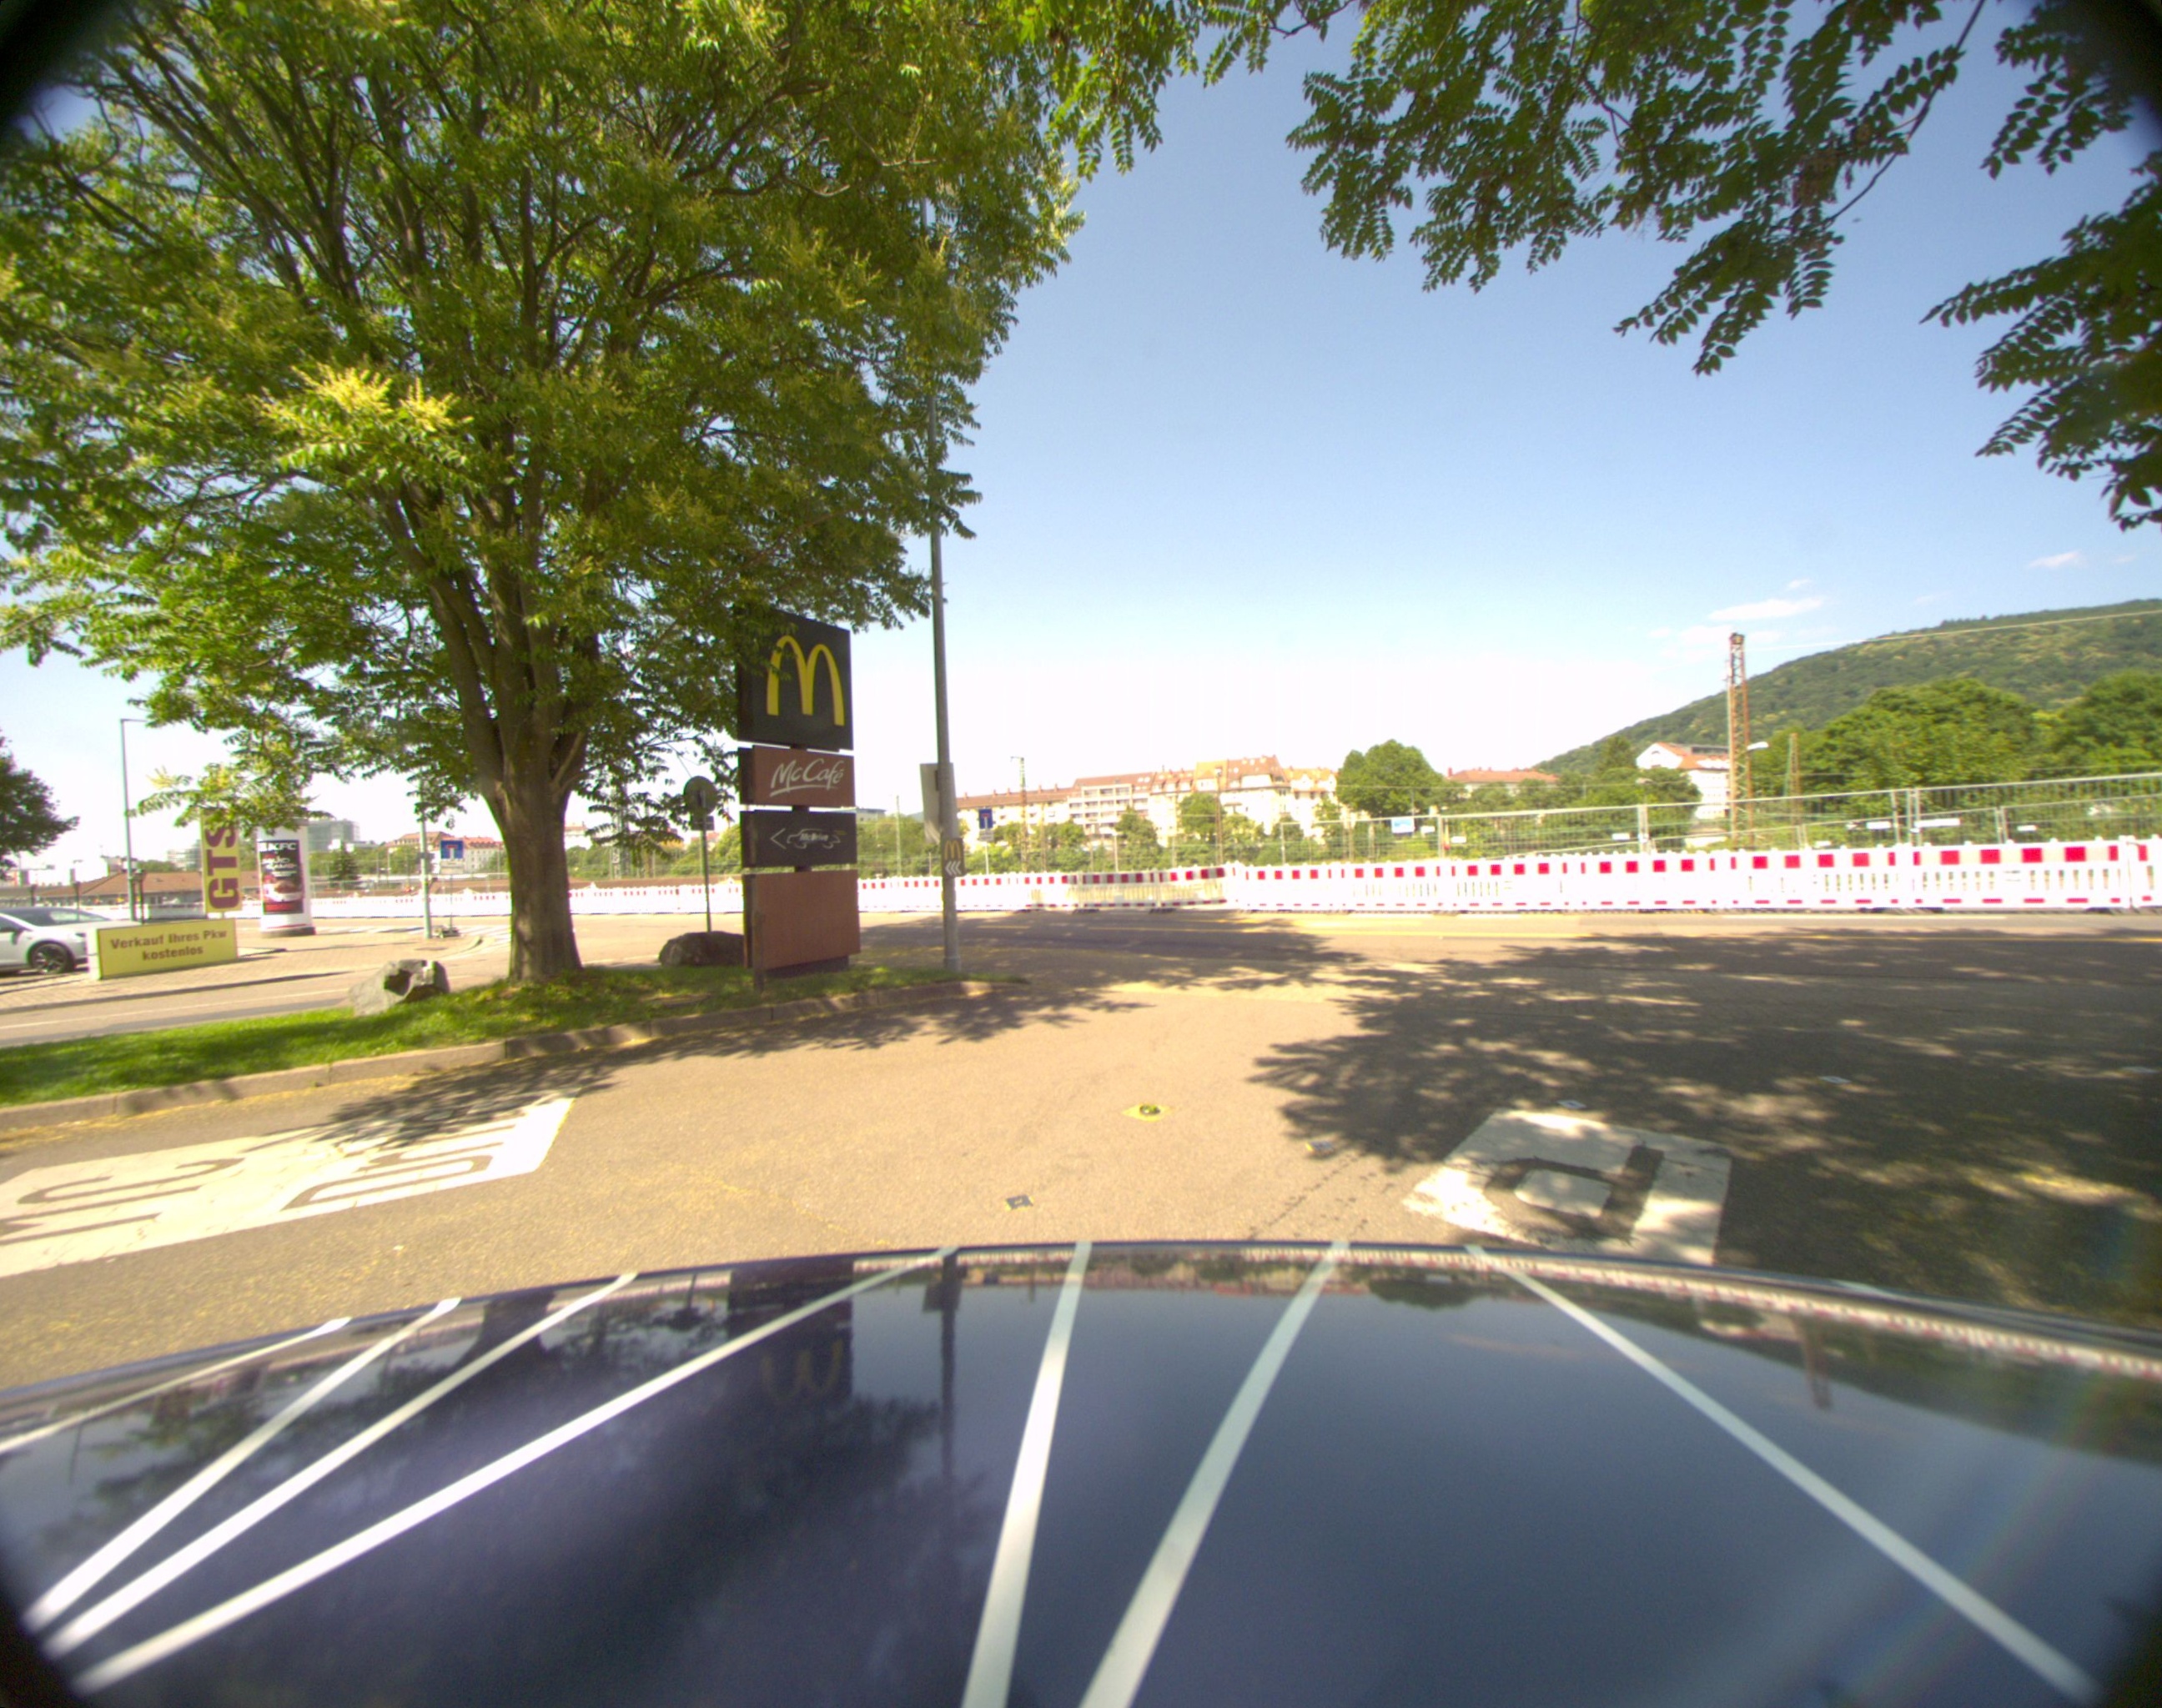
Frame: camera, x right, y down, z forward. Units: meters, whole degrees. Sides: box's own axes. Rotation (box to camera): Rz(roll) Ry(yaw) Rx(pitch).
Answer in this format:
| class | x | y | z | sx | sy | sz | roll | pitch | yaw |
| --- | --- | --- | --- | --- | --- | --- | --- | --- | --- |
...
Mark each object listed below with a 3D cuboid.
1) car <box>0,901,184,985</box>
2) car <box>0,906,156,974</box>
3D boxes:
| class | x | y | z | sx | sy | sz | roll | pitch | yaw |
| --- | --- | --- | --- | --- | --- | --- | --- | --- | --- |
| car | -25.138 | 2.178 | 18.457 | 3.999 | 1.715 | 1.999 | -3 | 0 | -6 |
| car | -28.772 | 2.410 | 21.399 | 3.993 | 1.619 | 1.864 | -3 | 0 | 14 |
